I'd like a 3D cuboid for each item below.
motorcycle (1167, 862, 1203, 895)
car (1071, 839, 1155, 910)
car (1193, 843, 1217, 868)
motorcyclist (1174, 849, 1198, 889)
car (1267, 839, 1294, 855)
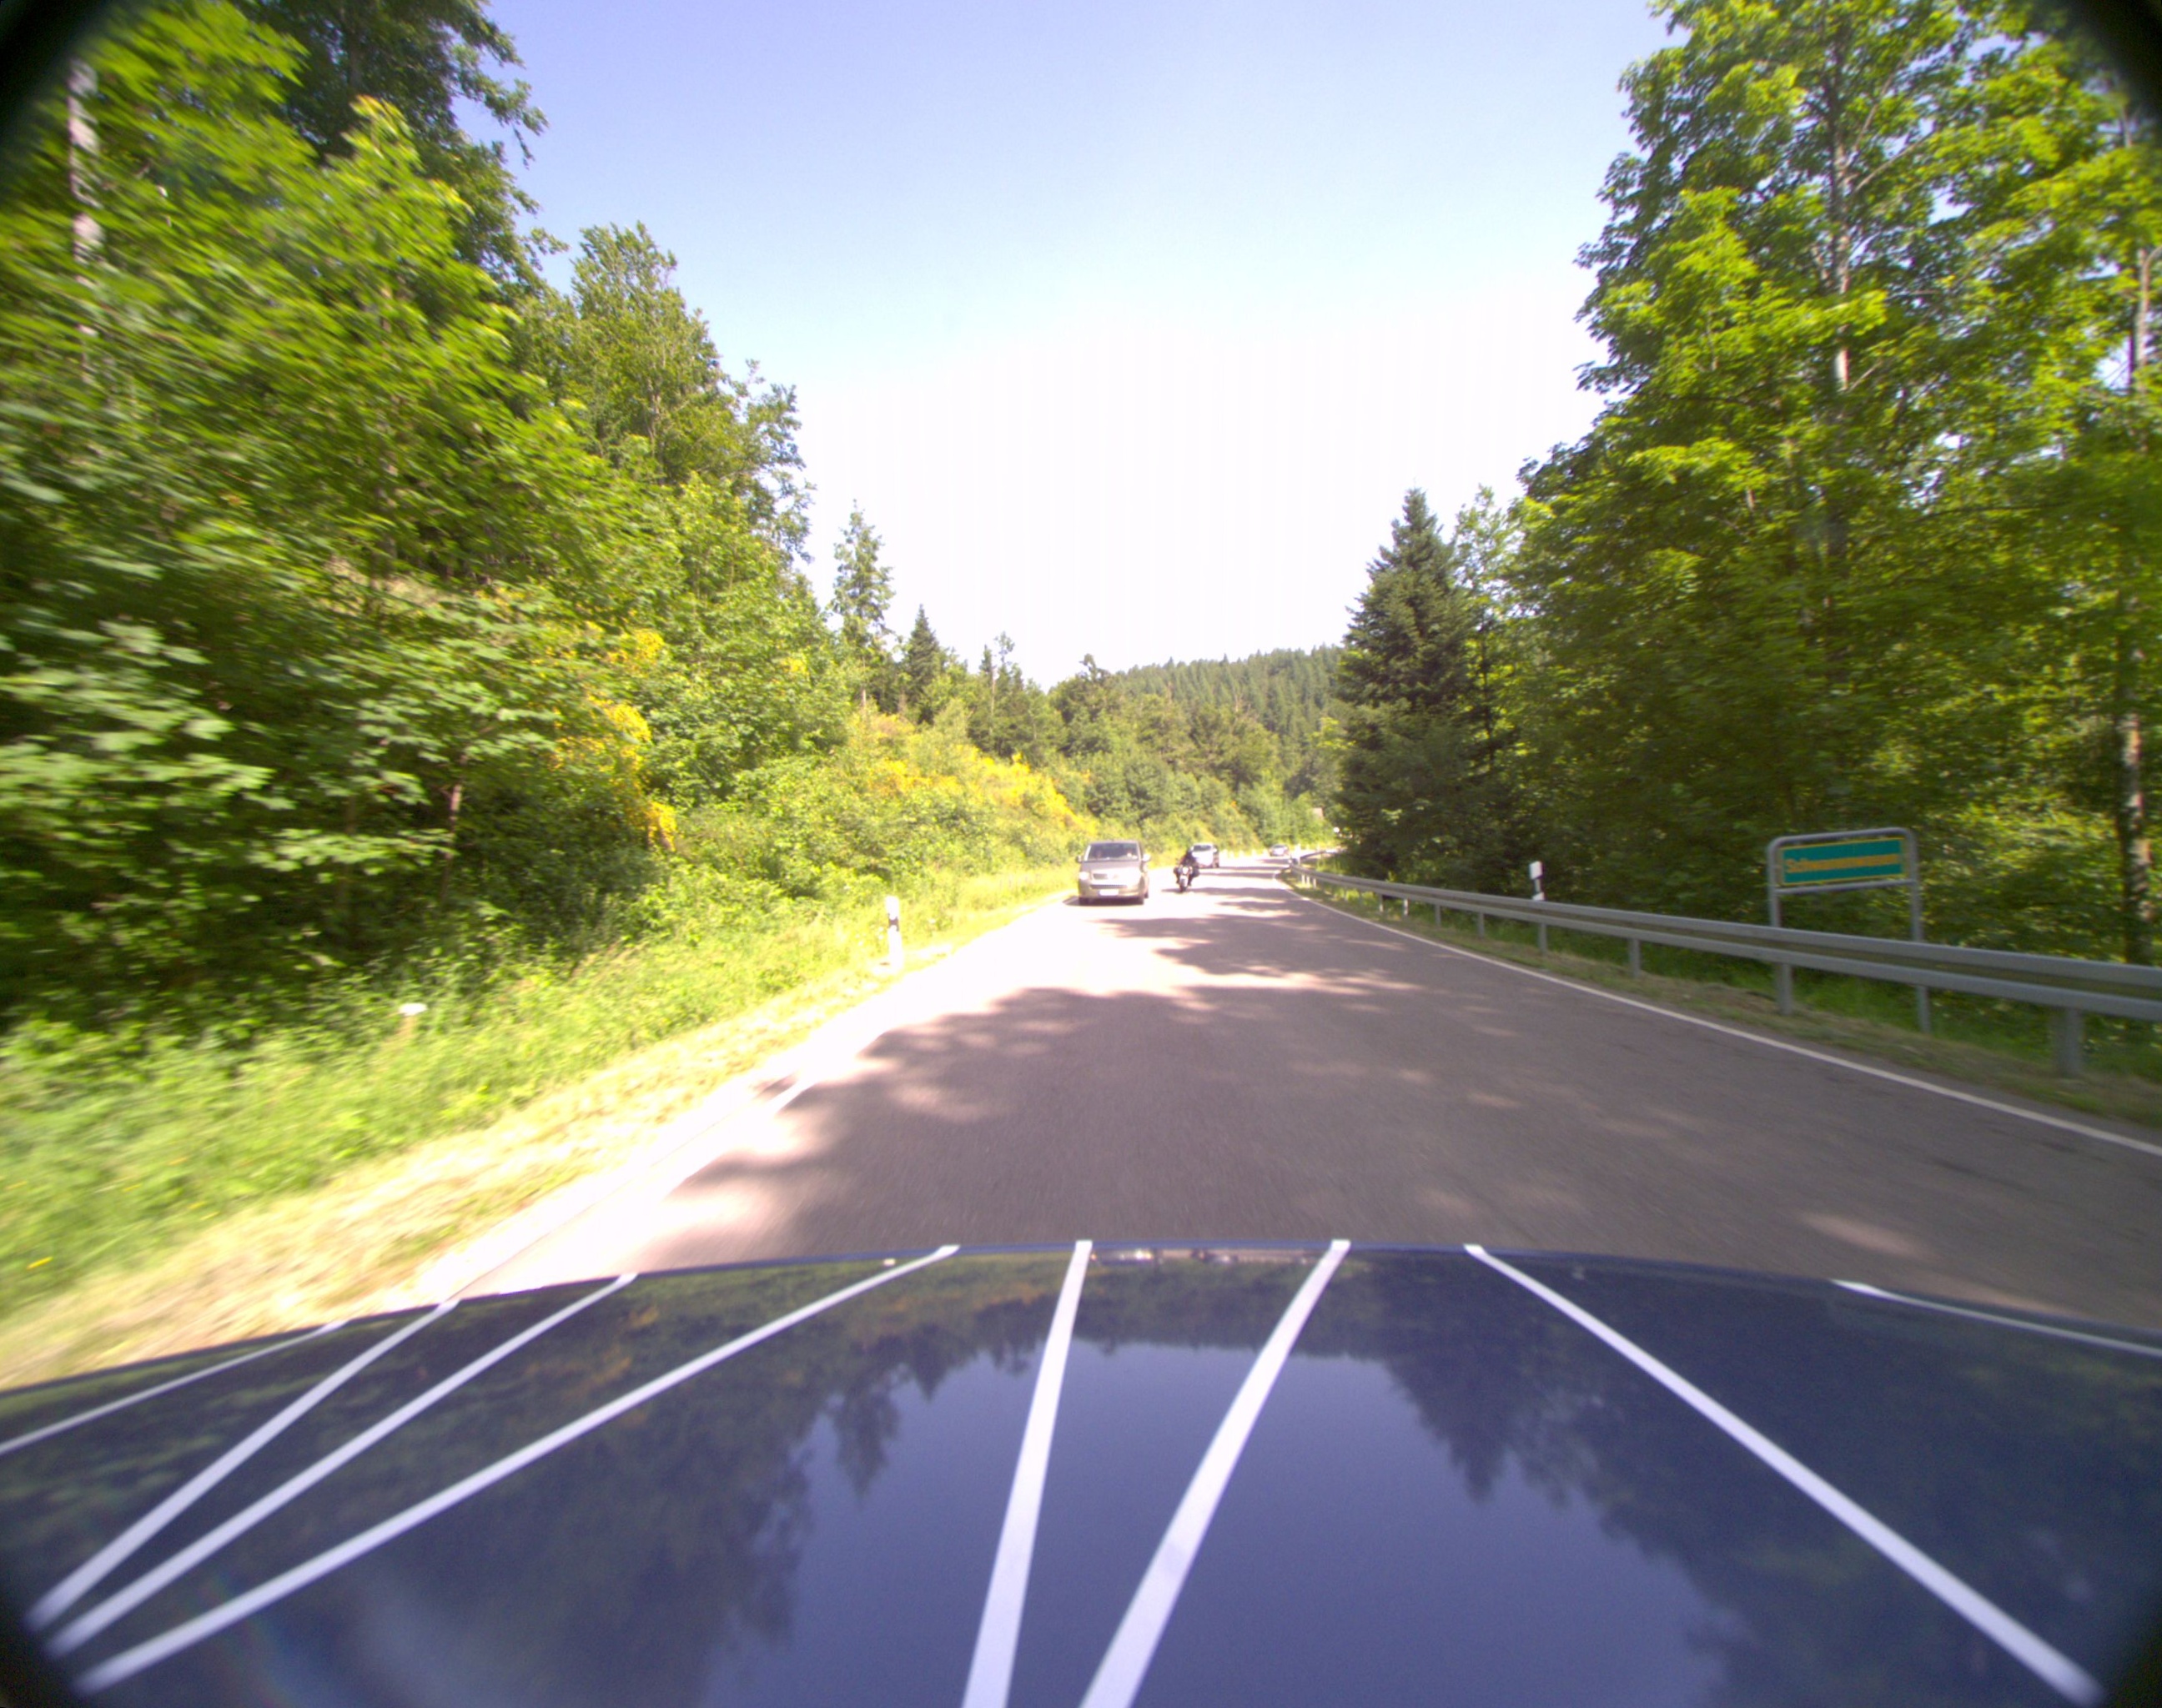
[{"bbox_3d":[3.866,0.879,28.144,1.108,1.117,1.962,0,1,13],"label":"motorcycle"},{"bbox_3d":[1.119,0.546,23.447,2.028,1.940,4.902,-1,1,9],"label":"car"},{"bbox_3d":[9.354,0.088,57.043,1.651,1.749,3.797,0,1,11],"label":"car"},{"bbox_3d":[3.874,0.527,28.068,0.716,1.422,1.000,-2,1,14],"label":"motorcyclist"},{"bbox_3d":[23.814,-0.847,90.769,1.994,1.634,4.006,-1,2,31],"label":"car"}]
